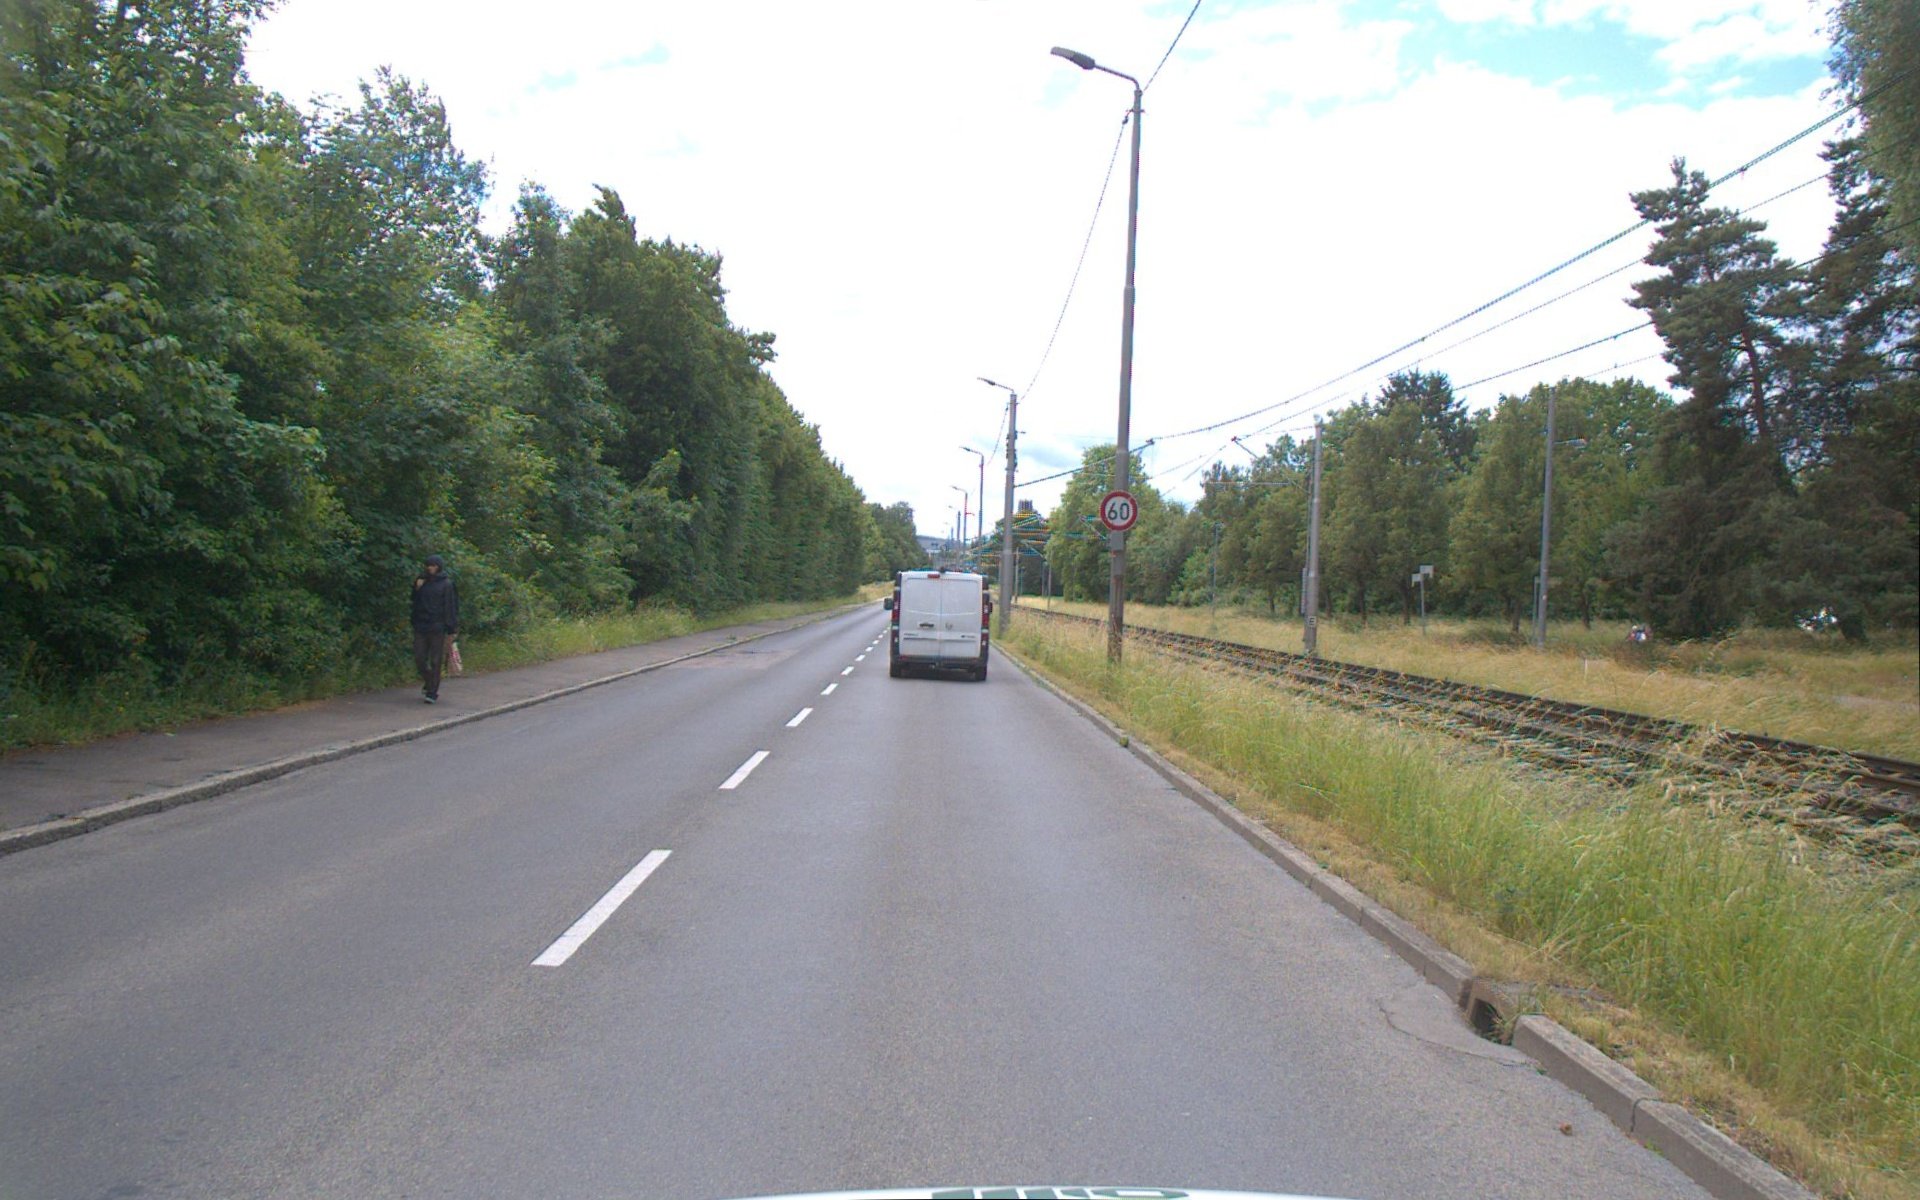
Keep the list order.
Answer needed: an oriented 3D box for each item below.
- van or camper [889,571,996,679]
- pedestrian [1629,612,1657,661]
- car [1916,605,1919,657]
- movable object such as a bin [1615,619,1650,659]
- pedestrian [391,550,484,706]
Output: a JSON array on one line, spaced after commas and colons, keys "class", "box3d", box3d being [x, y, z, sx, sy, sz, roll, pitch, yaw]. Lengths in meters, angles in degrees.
[{"class": "van or camper", "box3d": [-0.322, 0.455, 31.911, 1.902, 1.930, 4.284, 0, 0, 0]}, {"class": "pedestrian", "box3d": [24.121, 1.301, 58.422, 0.646, 1.696, 0.953, 1, 0, 39]}, {"class": "car", "box3d": [35.000, 1.157, 56.535, 1.714, 1.835, 3.986, 2, 0, -13]}, {"class": "movable object such as a bin", "box3d": [23.294, 1.340, 57.264, 0.648, 1.333, 1.634, 1, 0, 39]}, {"class": "pedestrian", "box3d": [-6.244, 0.321, 19.802, 0.851, 1.800, 0.789, 2, 1, -5]}]
